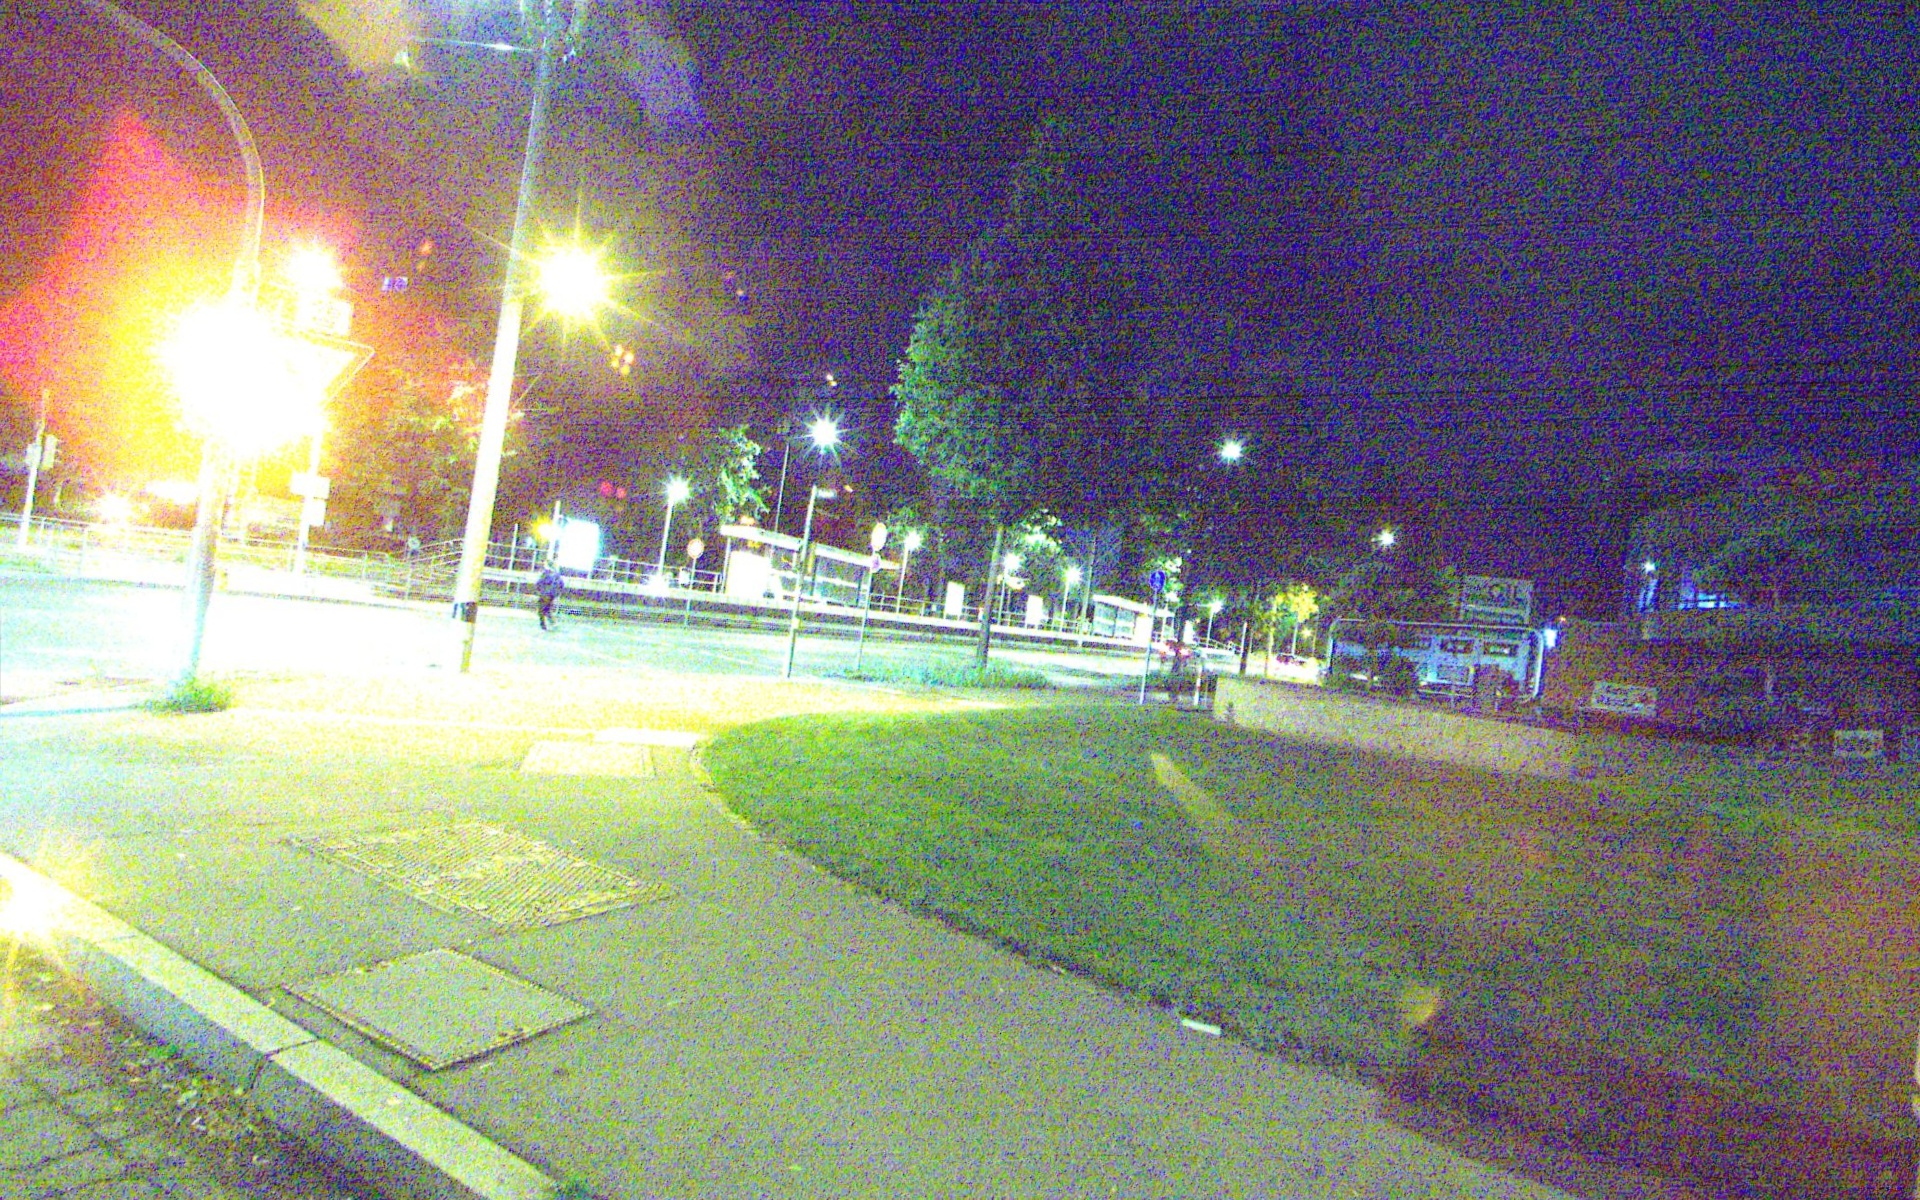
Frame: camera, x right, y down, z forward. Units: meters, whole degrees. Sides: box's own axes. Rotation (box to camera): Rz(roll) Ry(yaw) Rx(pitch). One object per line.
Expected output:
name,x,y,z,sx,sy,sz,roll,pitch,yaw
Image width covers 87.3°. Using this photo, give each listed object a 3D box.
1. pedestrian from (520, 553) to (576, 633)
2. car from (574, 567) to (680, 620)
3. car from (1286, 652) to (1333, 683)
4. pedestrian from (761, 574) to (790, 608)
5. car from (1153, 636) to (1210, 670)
pedestrian,-9.601,-0.152,23.463,0.820,1.767,0.755,6,1,31
car,-14.875,-0.265,45.102,1.970,2.039,3.985,6,0,36
car,22.900,4.383,65.822,1.780,1.684,3.988,10,3,33
pedestrian,-8.962,-0.425,48.843,1.129,1.518,1.073,6,-1,-19
car,14.042,3.380,63.596,1.834,1.679,4.449,9,0,35
